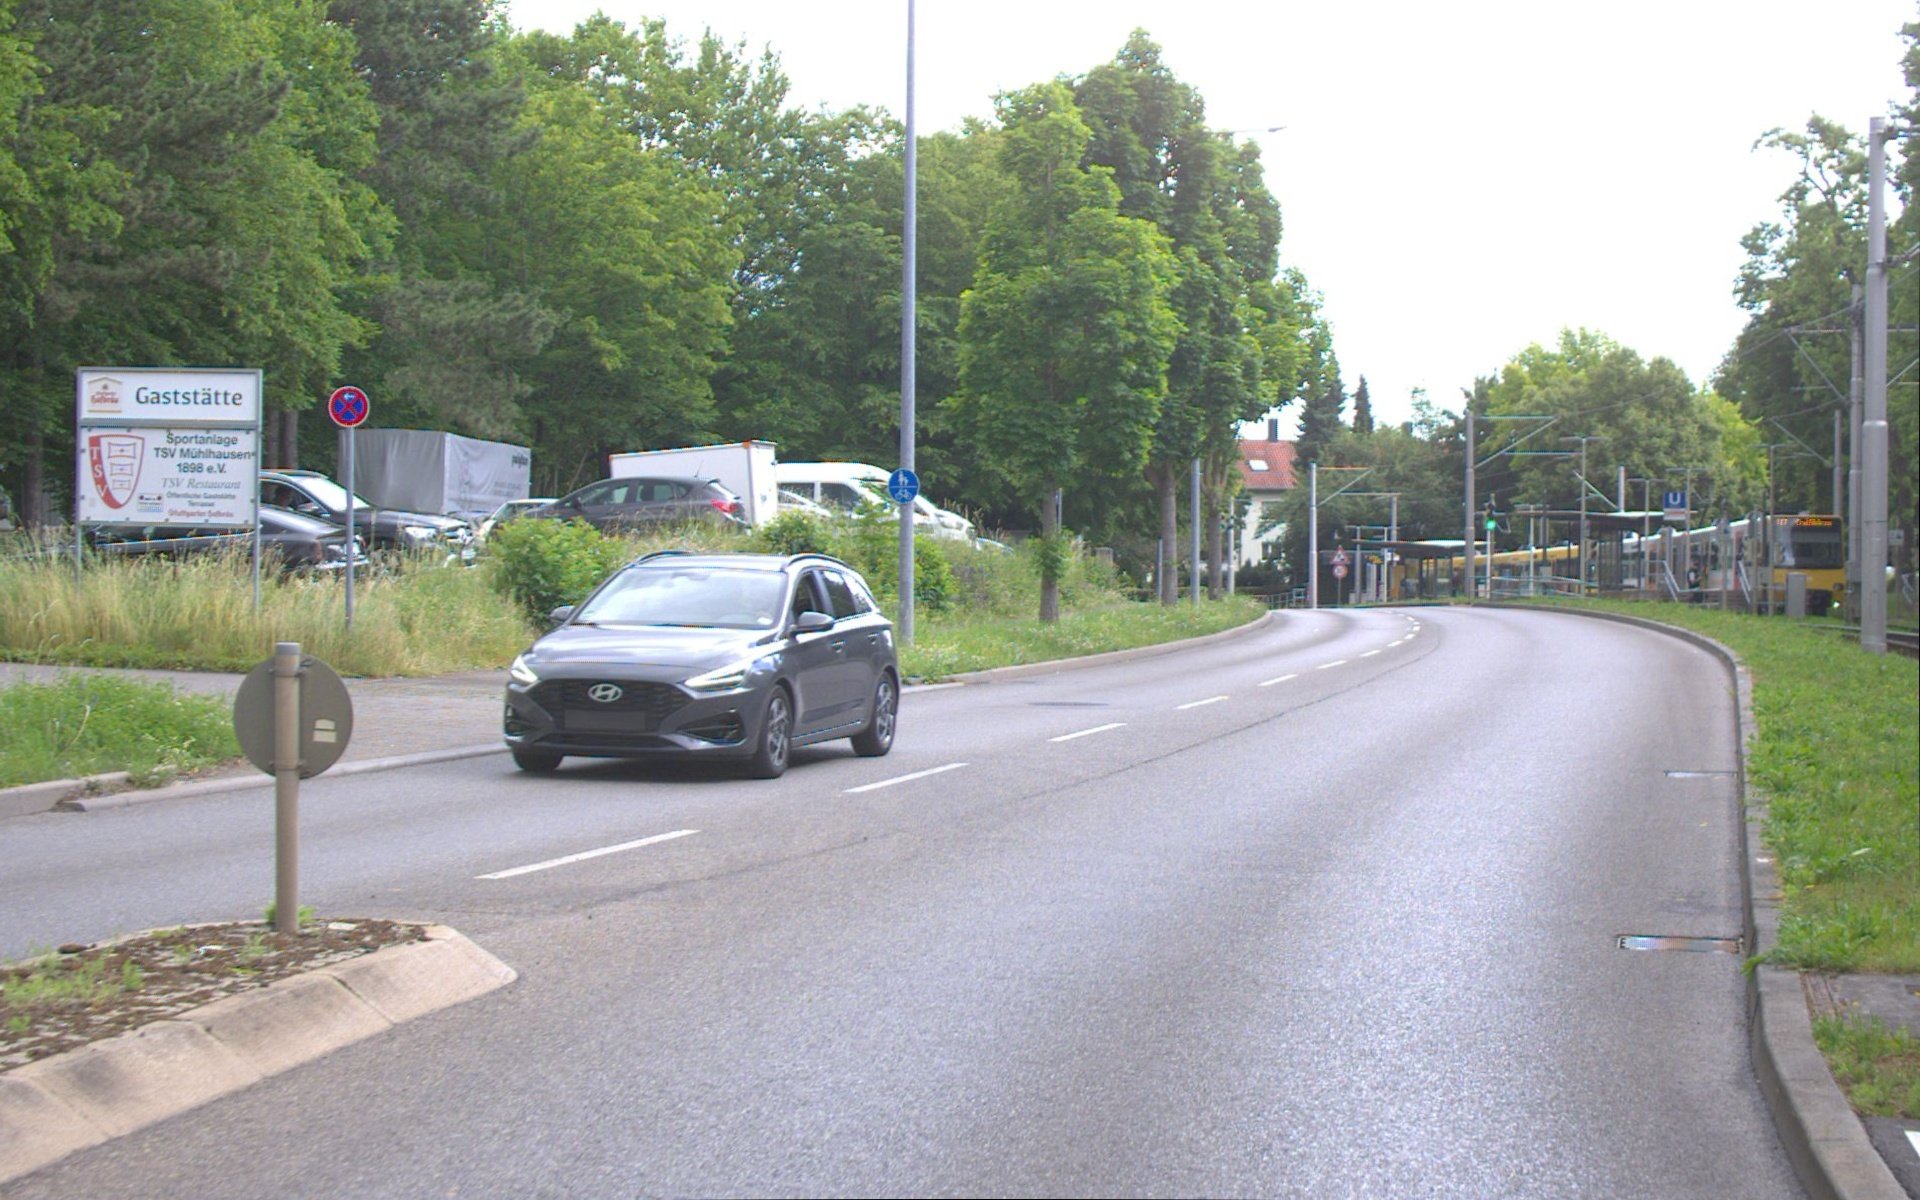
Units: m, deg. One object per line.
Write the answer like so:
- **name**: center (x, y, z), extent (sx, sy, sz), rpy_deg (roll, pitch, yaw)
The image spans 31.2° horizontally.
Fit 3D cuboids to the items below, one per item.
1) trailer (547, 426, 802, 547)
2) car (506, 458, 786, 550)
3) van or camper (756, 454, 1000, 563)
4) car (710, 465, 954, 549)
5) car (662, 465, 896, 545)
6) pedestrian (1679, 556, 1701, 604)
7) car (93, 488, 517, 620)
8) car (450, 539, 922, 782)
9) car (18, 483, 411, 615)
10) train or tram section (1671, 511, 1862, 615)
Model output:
- **trailer**: center (-4.949, -1.968, 59.780), extent (3.989, 2.007, 1.907), rpy_deg (1, 1, 13)
- **car**: center (-5.153, -1.575, 56.727), extent (4.312, 1.443, 1.836), rpy_deg (-1, 1, 6)
- **van or camper**: center (-1.739, -1.970, 73.856), extent (4.893, 2.195, 1.999), rpy_deg (2, 1, 10)
- **car**: center (-2.641, -1.937, 71.446), extent (4.646, 1.650, 1.998), rpy_deg (1, 1, 17)
- **car**: center (-3.593, -1.880, 68.656), extent (4.311, 1.502, 1.999), rpy_deg (1, 1, 9)
- **pedestrian**: center (22.454, -0.621, 105.756), extent (0.567, 1.459, 0.595), rpy_deg (1, 1, 5)
- **car**: center (-8.458, -0.604, 44.620), extent (4.927, 1.579, 2.206), rpy_deg (1, 1, 9)
- **car**: center (-1.752, 0.334, 23.624), extent (1.995, 1.433, 4.424), rpy_deg (2, 2, 13)
- **car**: center (-8.516, -0.598, 39.462), extent (3.955, 1.392, 1.999), rpy_deg (1, 1, 8)
- **train or tram section**: center (29.690, -1.534, 128.676), extent (3.008, 3.299, 34.703), rpy_deg (1, 1, 7)
